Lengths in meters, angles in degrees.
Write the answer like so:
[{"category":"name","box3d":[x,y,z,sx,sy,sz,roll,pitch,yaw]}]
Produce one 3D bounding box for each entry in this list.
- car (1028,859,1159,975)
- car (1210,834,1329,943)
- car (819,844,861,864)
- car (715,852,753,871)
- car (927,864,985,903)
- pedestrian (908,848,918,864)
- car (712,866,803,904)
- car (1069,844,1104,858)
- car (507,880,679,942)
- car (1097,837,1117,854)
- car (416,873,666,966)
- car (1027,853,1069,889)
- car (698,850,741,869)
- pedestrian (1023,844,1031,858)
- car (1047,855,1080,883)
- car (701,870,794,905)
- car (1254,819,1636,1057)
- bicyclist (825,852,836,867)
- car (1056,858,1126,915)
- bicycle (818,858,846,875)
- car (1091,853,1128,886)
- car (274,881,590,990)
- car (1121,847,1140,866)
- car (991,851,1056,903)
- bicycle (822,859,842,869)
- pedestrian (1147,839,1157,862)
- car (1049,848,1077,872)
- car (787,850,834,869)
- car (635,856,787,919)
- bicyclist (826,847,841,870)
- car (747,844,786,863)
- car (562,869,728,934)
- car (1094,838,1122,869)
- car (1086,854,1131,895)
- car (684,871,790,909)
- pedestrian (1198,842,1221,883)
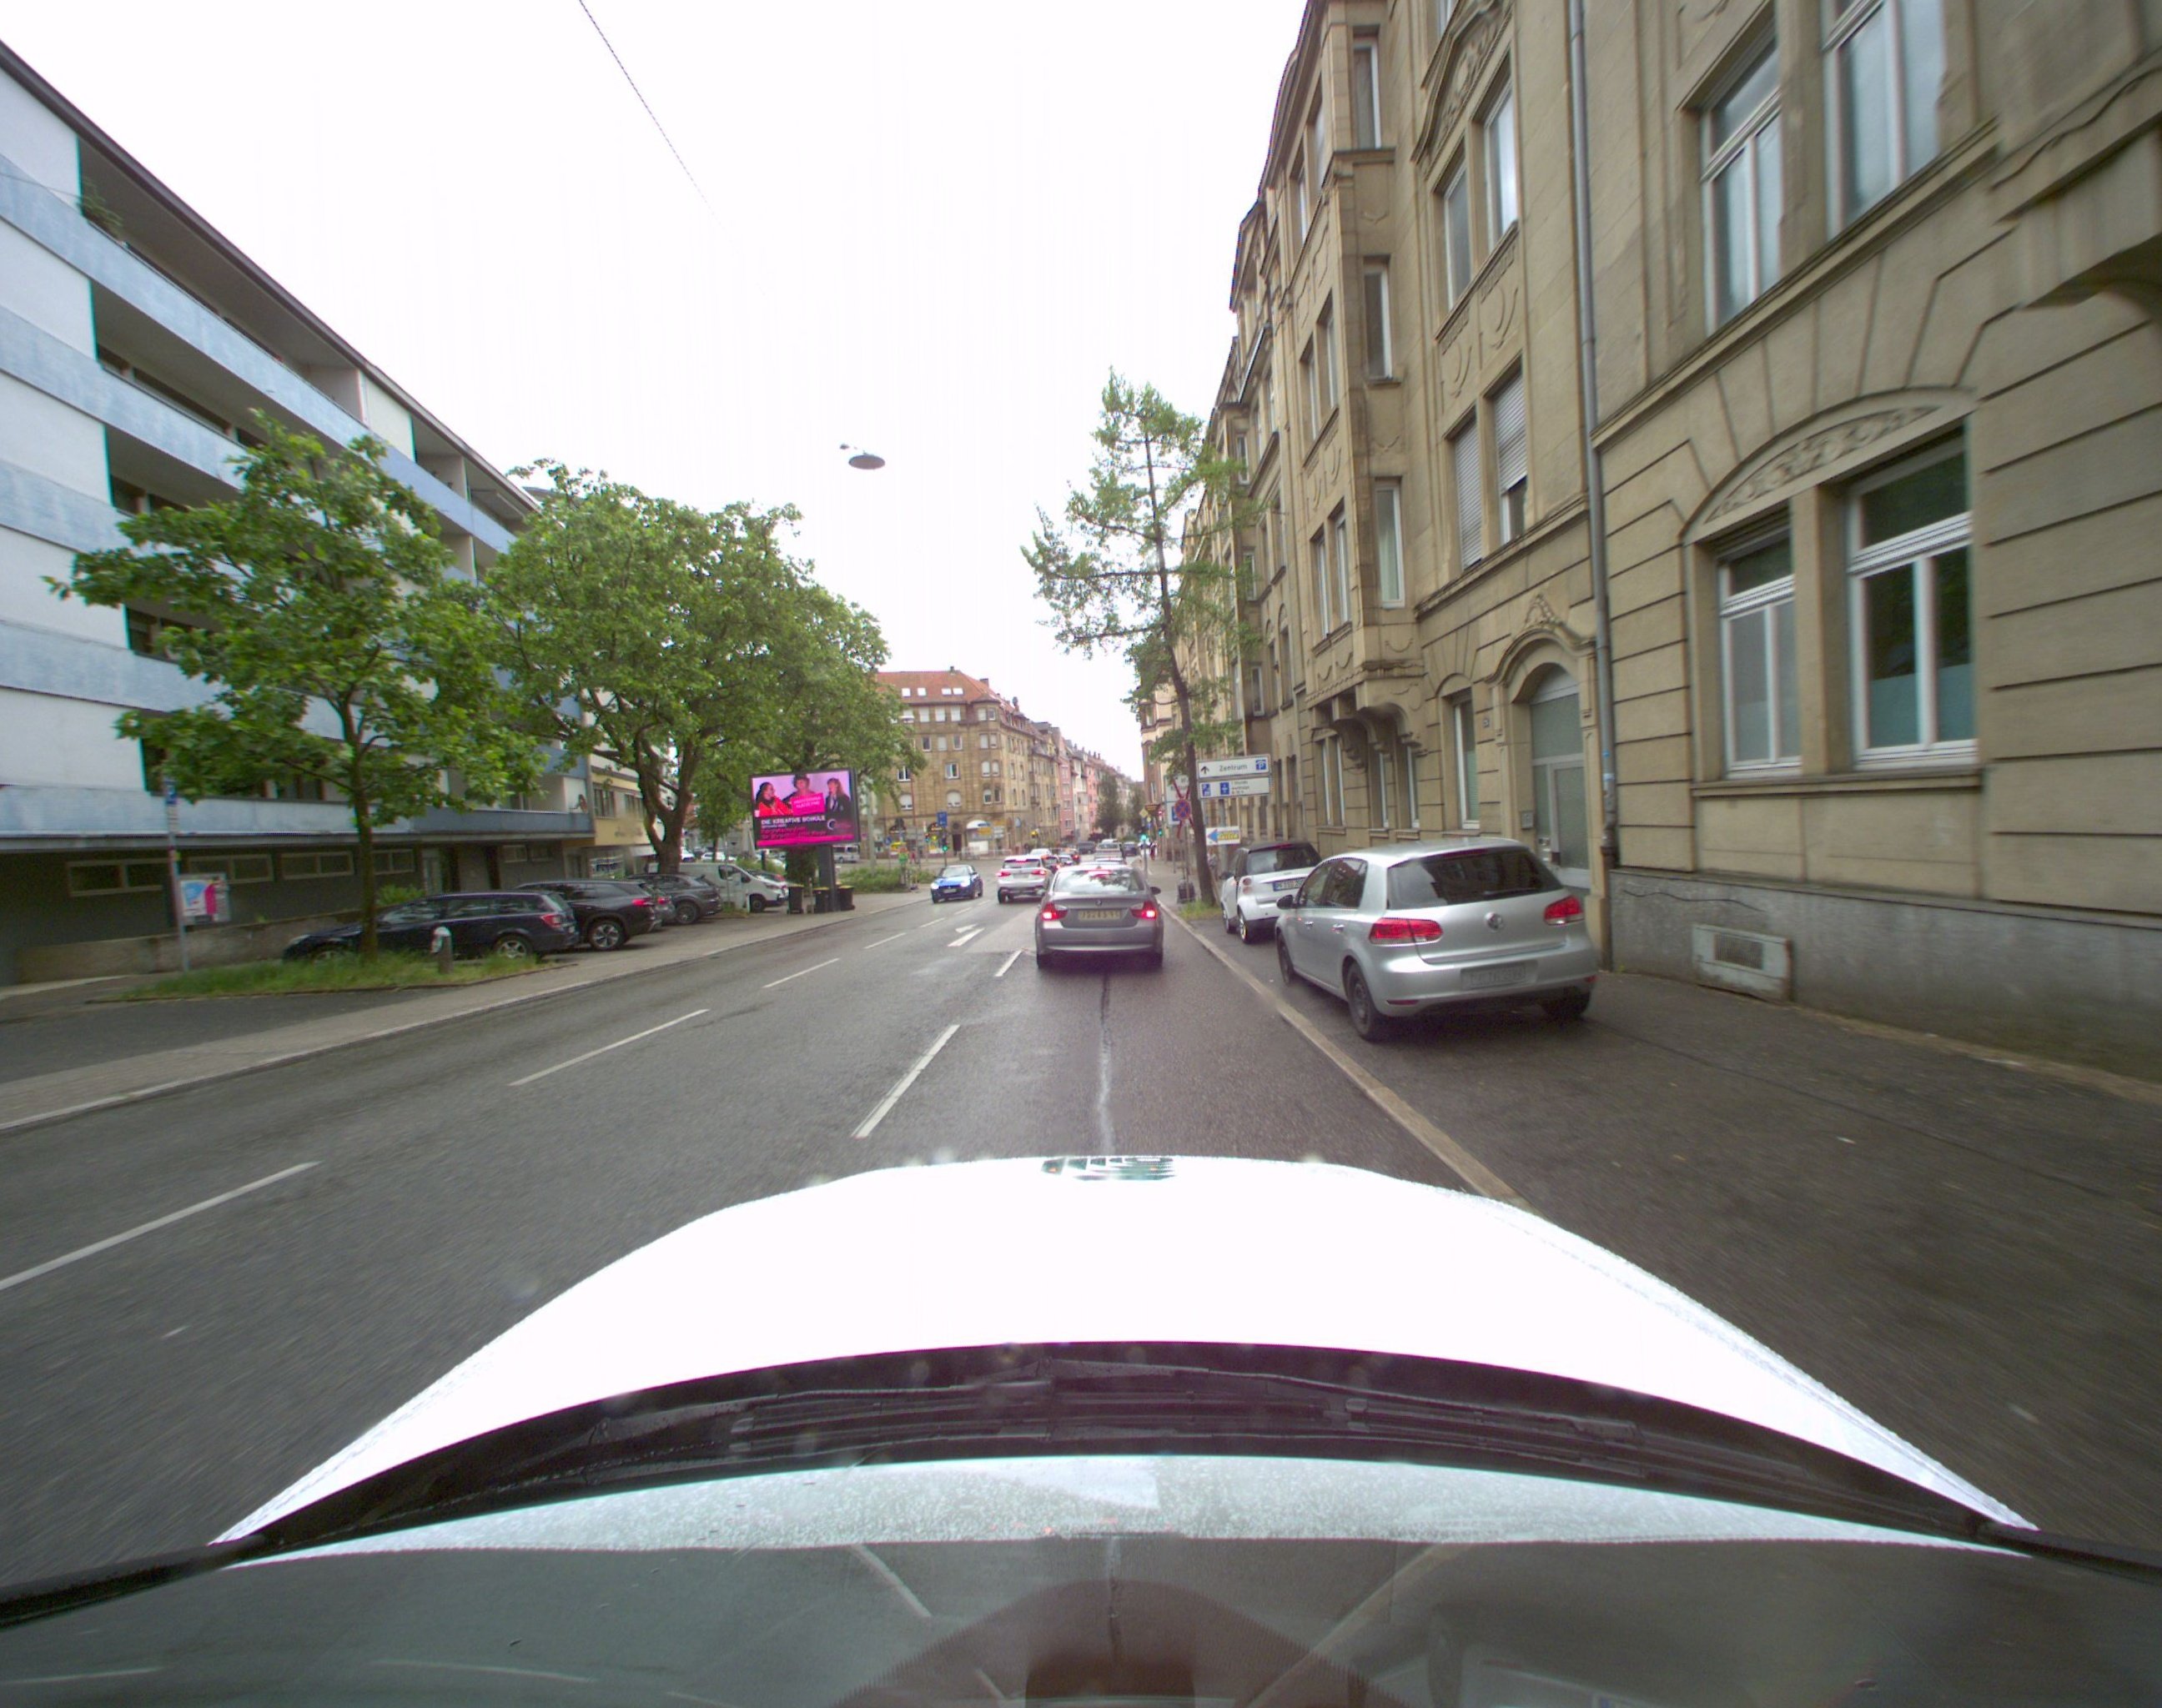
[{"category":"car","box3d":[0.259,0.805,12.039,1.617,1.383,3.618,-1,0,3]},{"category":"car","box3d":[3.154,0.536,14.119,1.294,1.543,2.977,-7,0,2]},{"category":"car","box3d":[-26.272,-0.063,88.888,4.238,2.101,2.013,0,2,30]},{"category":"car","box3d":[-41.384,0.910,97.185,4.238,2.101,2.013,0,2,30]},{"category":"car","box3d":[-5.221,1.188,34.388,1.708,1.450,3.743,-3,0,1]},{"category":"pedestrian","box3d":[-16.793,0.171,81.439,0.532,1.577,0.723,-3,-1,18]},{"category":"car","box3d":[-16.420,1.551,41.475,4.138,1.653,1.756,-2,-1,-21]},{"category":"car","box3d":[0.871,-0.392,121.656,5.158,2.014,2.699,0,-1,1]},{"category":"car","box3d":[-13.711,1.566,23.142,3.939,1.430,1.734,-2,-1,-24]},{"category":"car","box3d":[3.179,-1.057,97.760,1.751,1.925,4.335,-3,0,9]},{"category":"car","box3d":[-12.157,1.411,18.718,4.381,1.672,1.842,-3,0,-21]},{"category":"car","box3d":[-1.682,0.847,42.625,1.752,1.708,4.003,-1,0,3]},{"category":"car","box3d":[-37.782,0.569,85.052,4.195,1.726,2.013,-1,2,31]},{"category":"pedestrian","box3d":[-6.158,-0.368,92.571,0.727,1.577,0.530,-3,0,10]},{"category":"car","box3d":[-1.083,0.959,52.704,1.752,1.708,4.003,-1,0,3]},{"category":"car","box3d":[-15.920,1.583,39.108,3.984,1.450,1.758,-2,-1,-19]},{"category":"car","box3d":[2.947,0.590,7.653,1.753,1.451,4.001,-7,0,2]},{"category":"bicyclist","box3d":[-21.007,0.462,68.199,0.563,1.273,0.694,-1,-1,38]},{"category":"car","box3d":[0.366,0.853,22.965,1.752,1.383,4.003,-1,0,3]},{"category":"bicycle","box3d":[-20.871,1.027,68.227,0.665,1.320,2.290,-4,0,31]},{"category":"car","box3d":[1.462,0.753,42.196,1.753,1.567,4.001,-2,0,1]},{"category":"car","box3d":[-12.372,1.483,15.937,4.372,1.574,1.930,-3,0,-21]},{"category":"car","box3d":[5.439,0.321,89.335,1.716,2.014,4.008,0,-1,8]},{"category":"car","box3d":[-2.014,0.776,29.765,1.861,1.625,4.002,-4,0,2]},{"category":"bicycle","box3d":[-20.867,0.817,68.372,0.568,0.858,1.531,-1,-1,39]},{"category":"pedestrian","box3d":[5.992,-0.305,68.543,0.739,1.910,0.659,-3,0,1]},{"category":"car","box3d":[-1.306,0.431,61.568,1.752,1.708,4.003,-1,0,3]},{"category":"car","box3d":[-25.942,0.556,77.978,4.194,1.726,2.013,-1,2,32]},{"category":"car","box3d":[-14.092,1.243,31.346,5.075,2.105,1.979,-2,-1,-19]},{"category":"bicyclist","box3d":[-20.770,0.356,68.365,0.775,1.821,0.775,-4,-1,30]},{"category":"car","box3d":[-36.621,-0.074,94.770,4.238,2.101,2.013,0,2,30]},{"category":"car","box3d":[-13.808,1.459,26.130,4.369,1.784,1.927,-2,-1,-19]},{"category":"car","box3d":[1.980,-0.013,59.846,1.986,2.106,4.002,-1,-1,2]},{"category":"car","box3d":[1.121,0.744,31.349,1.588,1.464,4.003,-1,0,3]},{"category":"car","box3d":[-15.324,1.566,36.485,4.184,1.456,1.782,-2,-1,-19]},{"category":"pedestrian","box3d":[5.008,0.336,31.850,0.629,1.508,0.693,-7,-1,1]}]
